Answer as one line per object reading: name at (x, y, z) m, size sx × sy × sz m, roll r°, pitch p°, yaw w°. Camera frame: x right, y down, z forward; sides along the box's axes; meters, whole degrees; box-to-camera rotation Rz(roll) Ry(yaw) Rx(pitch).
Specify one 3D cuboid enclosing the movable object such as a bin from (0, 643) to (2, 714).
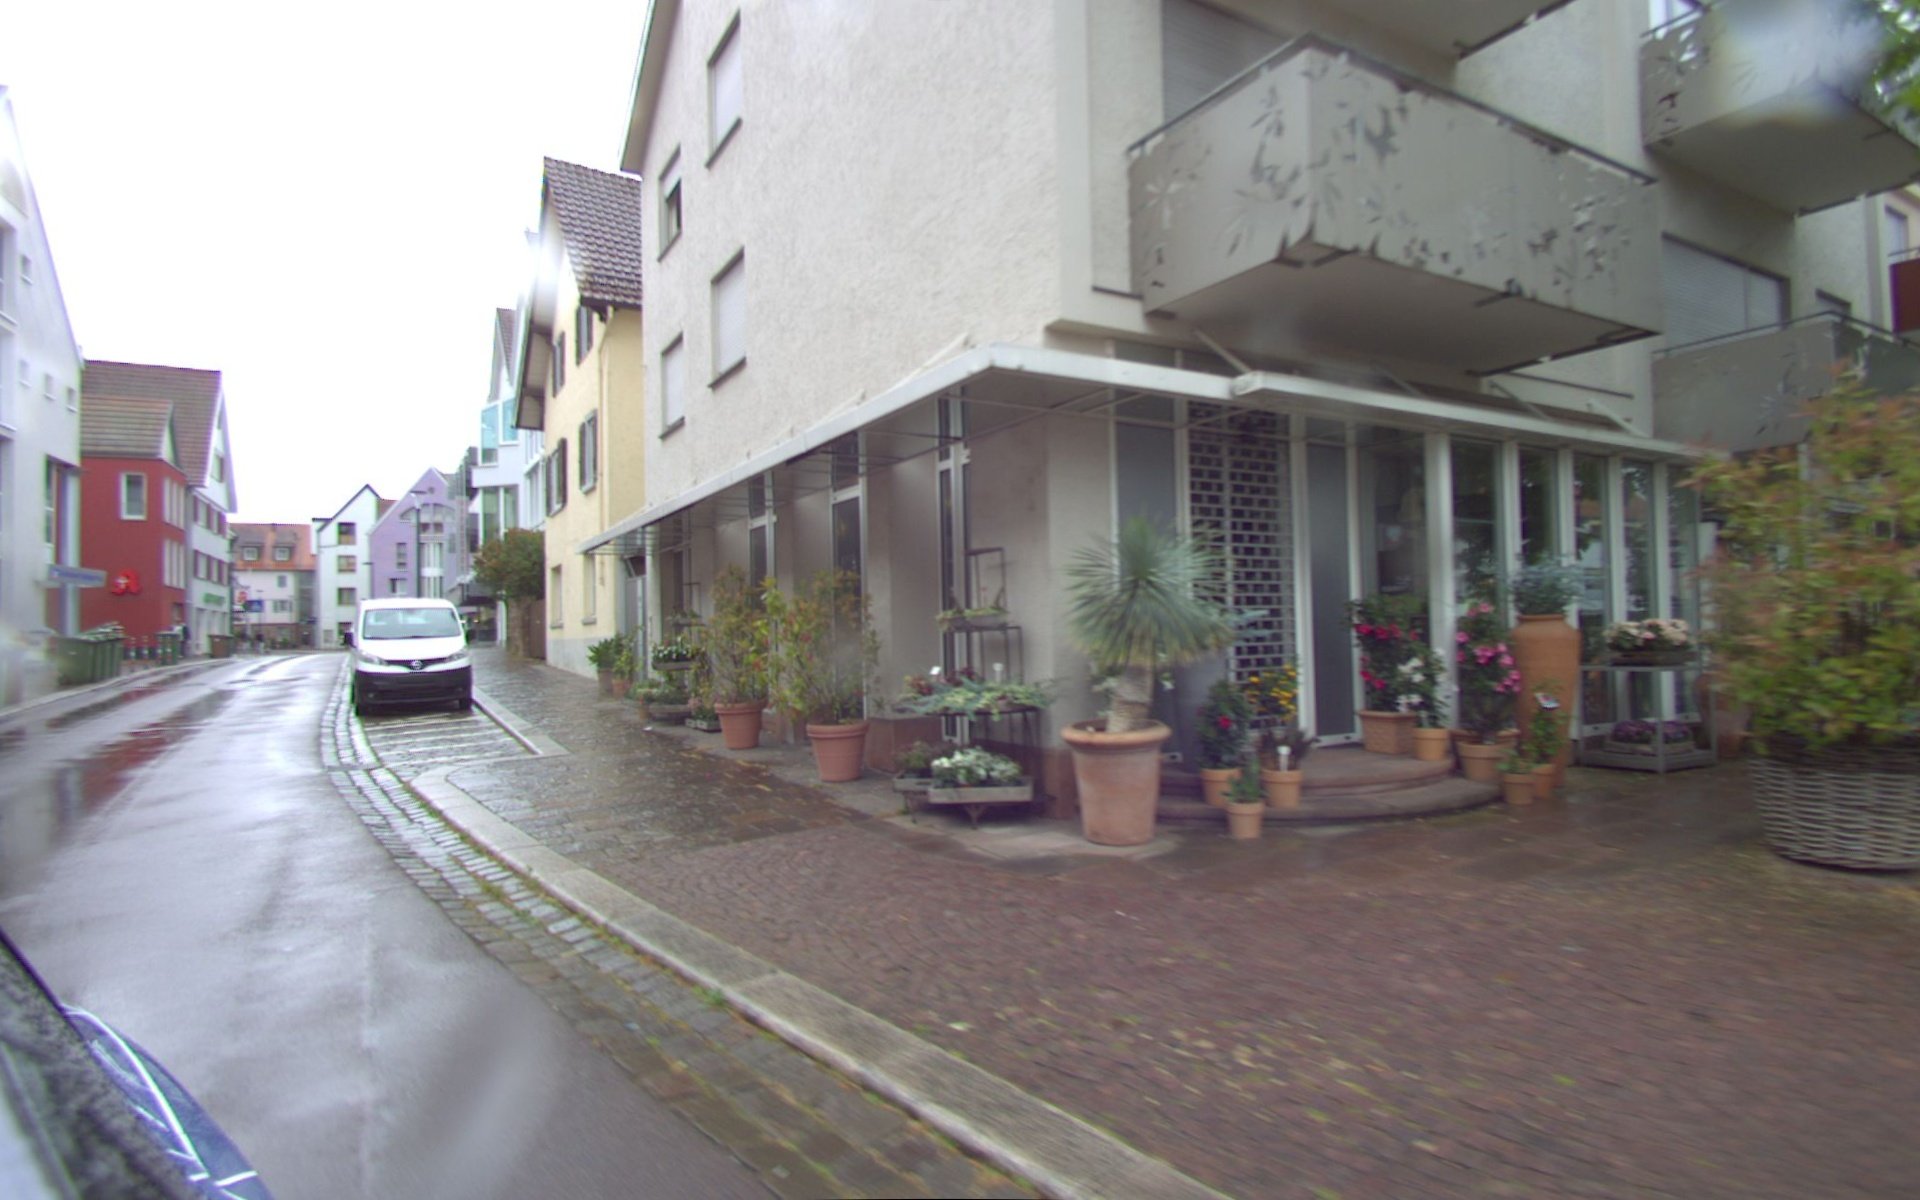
movable object such as a bin at (-15.965, 1.295, 16.340) m, size 0.629 × 1.156 × 0.634 m, roll 0°, pitch -1°, yaw -33°

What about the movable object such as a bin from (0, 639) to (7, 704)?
movable object such as a bin at (-16.395, 1.196, 16.844) m, size 0.660 × 1.089 × 0.589 m, roll 1°, pitch -1°, yaw -33°

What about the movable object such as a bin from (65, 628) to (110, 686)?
movable object such as a bin at (-20.045, 1.293, 23.256) m, size 0.629 × 1.300 × 0.634 m, roll 0°, pitch -1°, yaw -26°

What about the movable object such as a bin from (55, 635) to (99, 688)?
movable object such as a bin at (-19.736, 1.361, 22.629) m, size 0.607 × 1.140 × 0.634 m, roll 0°, pitch -1°, yaw -26°

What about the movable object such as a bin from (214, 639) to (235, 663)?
movable object such as a bin at (-33.156, 2.294, 45.625) m, size 0.667 × 1.092 × 0.700 m, roll 0°, pitch -2°, yaw -30°

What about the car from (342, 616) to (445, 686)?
car at (-12.740, 1.070, 22.660) m, size 1.658 × 1.399 × 3.835 m, roll 0°, pitch 0°, yaw -34°

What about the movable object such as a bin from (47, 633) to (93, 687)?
movable object such as a bin at (-19.395, 1.292, 22.069) m, size 0.607 × 1.140 × 0.634 m, roll 0°, pitch -1°, yaw -26°

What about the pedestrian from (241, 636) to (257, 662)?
pedestrian at (-52.426, 3.612, 74.622) m, size 0.657 × 1.917 × 0.648 m, roll -1°, pitch -3°, yaw 33°

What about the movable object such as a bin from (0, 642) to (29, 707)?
movable object such as a bin at (-16.961, 1.321, 17.875) m, size 0.669 × 1.105 × 0.652 m, roll -1°, pitch -1°, yaw -35°

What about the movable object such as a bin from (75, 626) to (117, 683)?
movable object such as a bin at (-20.474, 1.272, 23.989) m, size 0.629 × 1.300 × 0.634 m, roll 0°, pitch -1°, yaw -26°

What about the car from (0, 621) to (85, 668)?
car at (-32.244, 1.479, 33.947) m, size 3.931 × 1.526 × 1.918 m, roll 1°, pitch -2°, yaw -20°

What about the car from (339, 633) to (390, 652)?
car at (-55.636, 3.929, 94.592) m, size 3.929 × 1.595 × 1.839 m, roll -1°, pitch 0°, yaw -24°

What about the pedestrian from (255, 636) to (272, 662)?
pedestrian at (-51.724, 3.635, 75.162) m, size 0.803 × 1.919 × 0.765 m, roll -1°, pitch -1°, yaw 33°

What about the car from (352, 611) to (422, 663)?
car at (-19.013, 1.173, 33.477) m, size 1.755 × 1.580 × 4.420 m, roll 0°, pitch 0°, yaw -33°

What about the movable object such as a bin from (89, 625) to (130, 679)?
movable object such as a bin at (-20.985, 1.268, 24.975) m, size 0.629 × 1.300 × 0.634 m, roll 0°, pitch -1°, yaw -26°

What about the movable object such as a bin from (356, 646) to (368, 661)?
movable object such as a bin at (-44.722, 4.008, 75.699) m, size 0.678 × 1.082 × 0.670 m, roll 0°, pitch -2°, yaw -40°

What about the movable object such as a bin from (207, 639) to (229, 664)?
movable object such as a bin at (-32.533, 2.250, 44.395) m, size 0.719 × 1.089 × 0.648 m, roll 0°, pitch -2°, yaw -30°

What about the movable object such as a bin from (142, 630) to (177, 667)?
movable object such as a bin at (-25.860, 1.570, 32.697) m, size 0.793 × 1.139 × 0.865 m, roll 0°, pitch -1°, yaw -33°

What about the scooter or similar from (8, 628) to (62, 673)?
scooter or similar at (-24.909, 1.346, 27.285) m, size 0.655 × 1.154 × 1.451 m, roll 0°, pitch 0°, yaw -24°

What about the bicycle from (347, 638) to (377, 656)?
bicycle at (-40.479, 3.172, 68.488) m, size 0.444 × 1.173 × 1.728 m, roll -1°, pitch -1°, yaw 39°

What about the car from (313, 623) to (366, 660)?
car at (-26.918, 1.794, 44.017) m, size 1.805 × 1.510 × 4.777 m, roll 1°, pitch -3°, yaw -30°

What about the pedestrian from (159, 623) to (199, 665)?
pedestrian at (-32.020, 1.802, 41.519) m, size 1.161 × 1.710 × 1.180 m, roll 2°, pitch -3°, yaw -34°

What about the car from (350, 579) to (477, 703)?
car at (-9.462, 0.630, 17.361) m, size 1.700 × 1.839 × 4.441 m, roll 0°, pitch 0°, yaw -31°
